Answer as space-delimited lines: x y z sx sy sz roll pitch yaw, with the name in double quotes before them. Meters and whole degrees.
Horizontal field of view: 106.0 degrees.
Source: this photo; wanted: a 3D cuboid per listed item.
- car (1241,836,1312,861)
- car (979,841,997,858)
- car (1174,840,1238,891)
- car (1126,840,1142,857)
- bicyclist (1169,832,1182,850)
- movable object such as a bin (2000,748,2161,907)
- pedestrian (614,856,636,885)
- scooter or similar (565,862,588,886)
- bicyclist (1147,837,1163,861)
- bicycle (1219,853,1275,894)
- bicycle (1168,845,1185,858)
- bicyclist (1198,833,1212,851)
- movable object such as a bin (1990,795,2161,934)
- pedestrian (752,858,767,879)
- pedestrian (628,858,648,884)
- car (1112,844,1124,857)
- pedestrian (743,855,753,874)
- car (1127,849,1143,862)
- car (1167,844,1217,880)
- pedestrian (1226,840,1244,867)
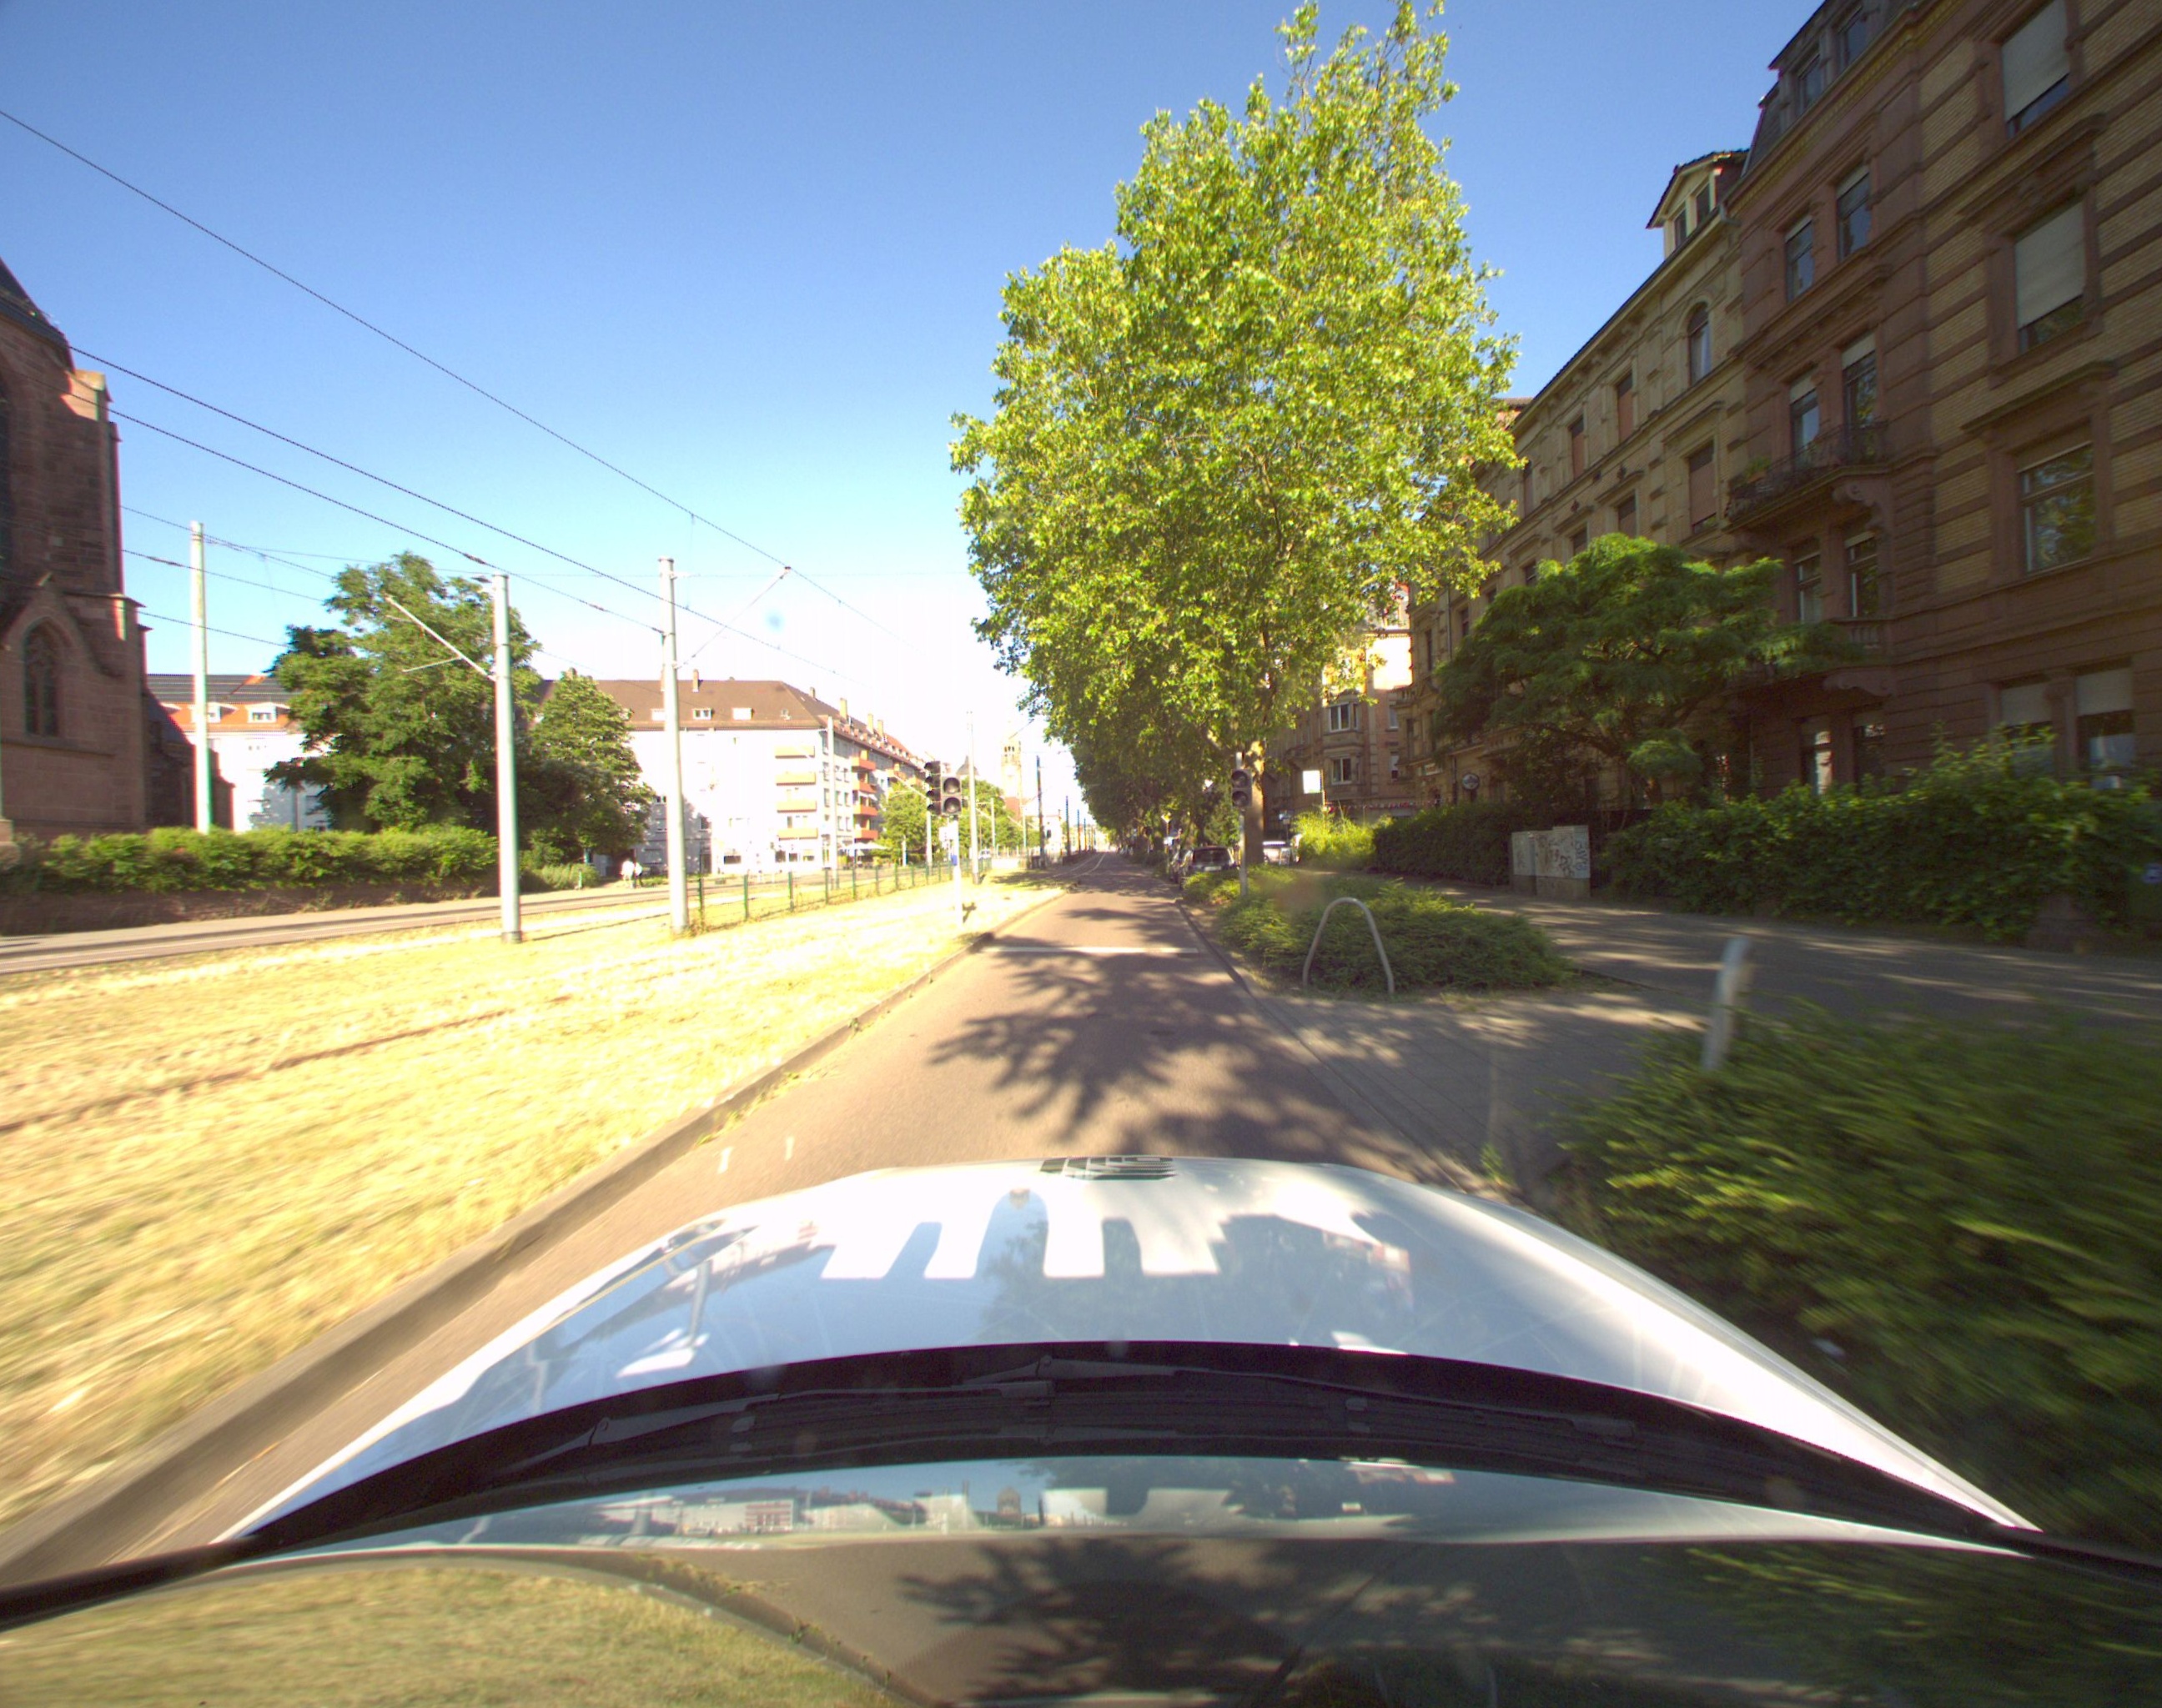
"car" 12.261 -0.343 51.286 3.976 1.420 1.999 -2 0 -2
"car" -12.663 -0.691 111.272 1.988 2.013 3.999 -3 3 -1
"car" 4.147 0.326 27.532 1.637 1.511 4.186 -3 1 3
"car" 6.799 -0.738 104.575 1.985 2.107 4.003 0 -1 3
"bicyclist" 7.722 -1.036 66.501 0.812 1.404 1.078 -3 3 -7
"movable object such as a bin" 14.340 -0.375 10.401 1.540 1.996 3.232 -3 0 1
"pedestrian" -27.135 0.986 48.500 0.641 1.598 0.899 -3 3 2
"scooter or similar" -28.801 1.122 46.535 0.400 1.261 1.232 -3 3 3
"bicyclist" 6.002 -0.398 66.098 1.137 1.890 0.683 -3 3 1
"bicycle" 4.809 0.543 23.568 1.605 1.025 0.537 -4 3 -28
"bicycle" 7.772 -0.219 66.424 0.812 0.957 2.313 -3 3 -7
"bicyclist" 9.782 -0.941 64.203 0.813 1.404 0.823 -3 3 -7
"movable object such as a bin" 11.169 0.076 8.807 1.227 1.382 1.257 -3 0 1
"pedestrian" -23.199 1.063 58.768 0.685 1.467 0.592 -3 3 5
"pedestrian" -26.432 1.022 48.575 0.586 1.467 0.917 -3 3 2
"car" 6.235 -0.631 137.157 1.985 2.107 4.003 0 -1 3
"pedestrian" -27.631 0.851 67.661 0.592 1.467 0.908 -4 3 -28
"car" 6.321 0.188 95.757 1.787 1.510 4.003 0 -1 3
"car" 4.588 0.288 34.139 1.637 1.373 4.186 -3 1 3
"pedestrian" 10.034 -0.045 52.982 0.812 1.689 1.078 -3 3 -7
